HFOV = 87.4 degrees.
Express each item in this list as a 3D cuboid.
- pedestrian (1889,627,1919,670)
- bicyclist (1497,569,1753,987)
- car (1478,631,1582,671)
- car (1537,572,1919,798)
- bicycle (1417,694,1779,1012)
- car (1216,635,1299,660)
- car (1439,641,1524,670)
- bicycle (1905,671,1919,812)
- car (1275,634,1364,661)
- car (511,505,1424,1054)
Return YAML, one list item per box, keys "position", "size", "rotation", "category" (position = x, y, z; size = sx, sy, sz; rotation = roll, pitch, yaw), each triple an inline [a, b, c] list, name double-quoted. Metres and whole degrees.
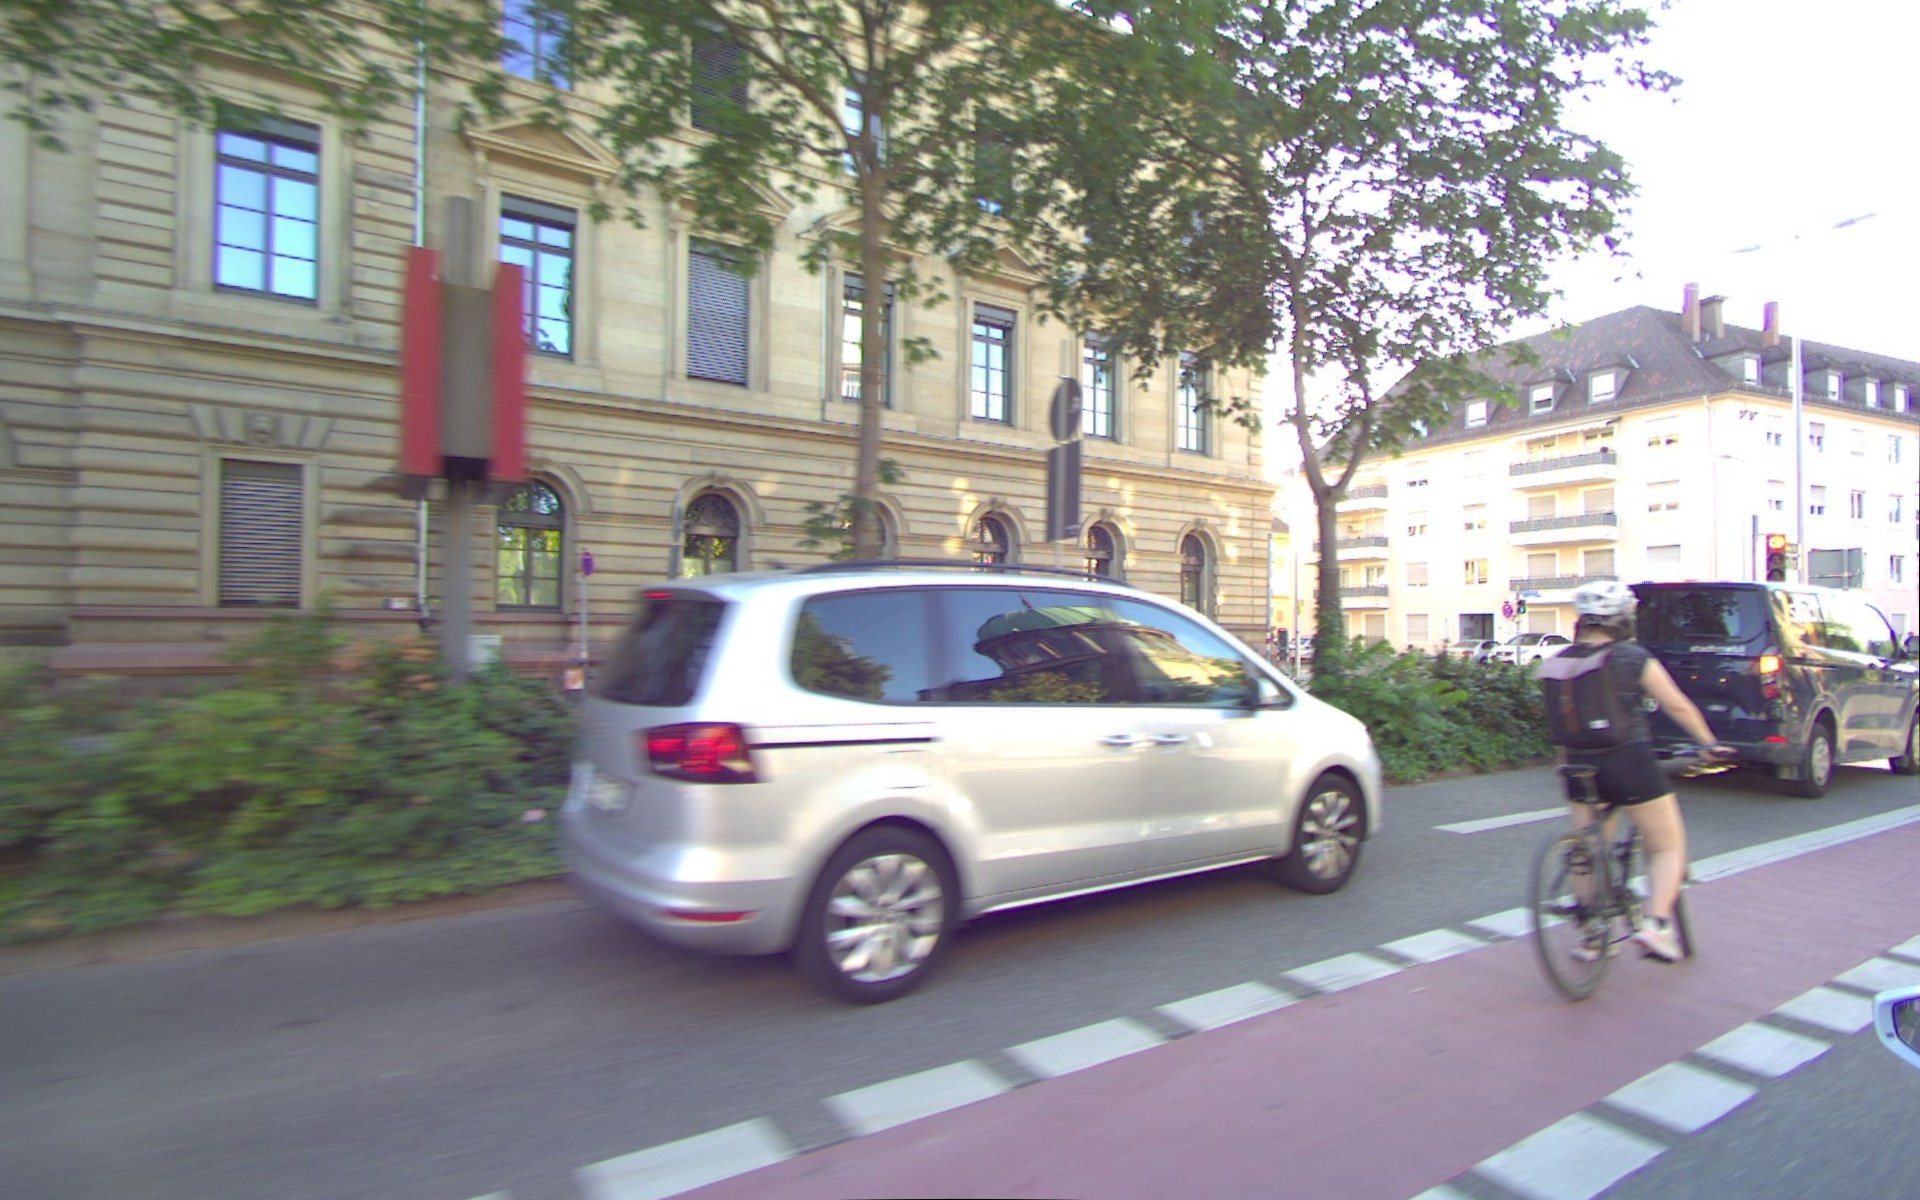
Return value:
- position: [42.226, 2.153, 44.731]
  size: [1.000, 1.888, 0.866]
  rotation: [1, 1, -23]
  category: "pedestrian"
- position: [3.010, 0.727, 4.555]
  size: [0.877, 1.674, 0.669]
  rotation: [1, -1, -32]
  category: "bicyclist"
- position: [25.397, 2.231, 44.742]
  size: [4.559, 1.708, 1.985]
  rotation: [1, -2, -30]
  category: "car"
- position: [8.597, 0.842, 10.875]
  size: [4.980, 1.940, 2.056]
  rotation: [2, -3, -33]
  category: "car"
- position: [2.862, 1.004, 4.458]
  size: [1.733, 1.087, 0.665]
  rotation: [2, -1, -31]
  category: "bicycle"
- position: [17.693, 2.818, 59.703]
  size: [4.726, 1.451, 1.986]
  rotation: [1, -2, -28]
  category: "car"
- position: [24.280, 2.562, 46.735]
  size: [3.951, 1.327, 1.599]
  rotation: [1, -2, -29]
  category: "car"
- position: [8.926, 1.194, 8.513]
  size: [1.946, 1.158, 0.825]
  rotation: [2, -1, -30]
  category: "bicycle"
- position: [19.860, 2.621, 55.450]
  size: [4.726, 1.451, 1.986]
  rotation: [1, -2, -28]
  category: "car"
- position: [0.298, 0.661, 5.448]
  size: [4.701, 1.772, 1.978]
  rotation: [2, -2, -36]
  category: "car"
